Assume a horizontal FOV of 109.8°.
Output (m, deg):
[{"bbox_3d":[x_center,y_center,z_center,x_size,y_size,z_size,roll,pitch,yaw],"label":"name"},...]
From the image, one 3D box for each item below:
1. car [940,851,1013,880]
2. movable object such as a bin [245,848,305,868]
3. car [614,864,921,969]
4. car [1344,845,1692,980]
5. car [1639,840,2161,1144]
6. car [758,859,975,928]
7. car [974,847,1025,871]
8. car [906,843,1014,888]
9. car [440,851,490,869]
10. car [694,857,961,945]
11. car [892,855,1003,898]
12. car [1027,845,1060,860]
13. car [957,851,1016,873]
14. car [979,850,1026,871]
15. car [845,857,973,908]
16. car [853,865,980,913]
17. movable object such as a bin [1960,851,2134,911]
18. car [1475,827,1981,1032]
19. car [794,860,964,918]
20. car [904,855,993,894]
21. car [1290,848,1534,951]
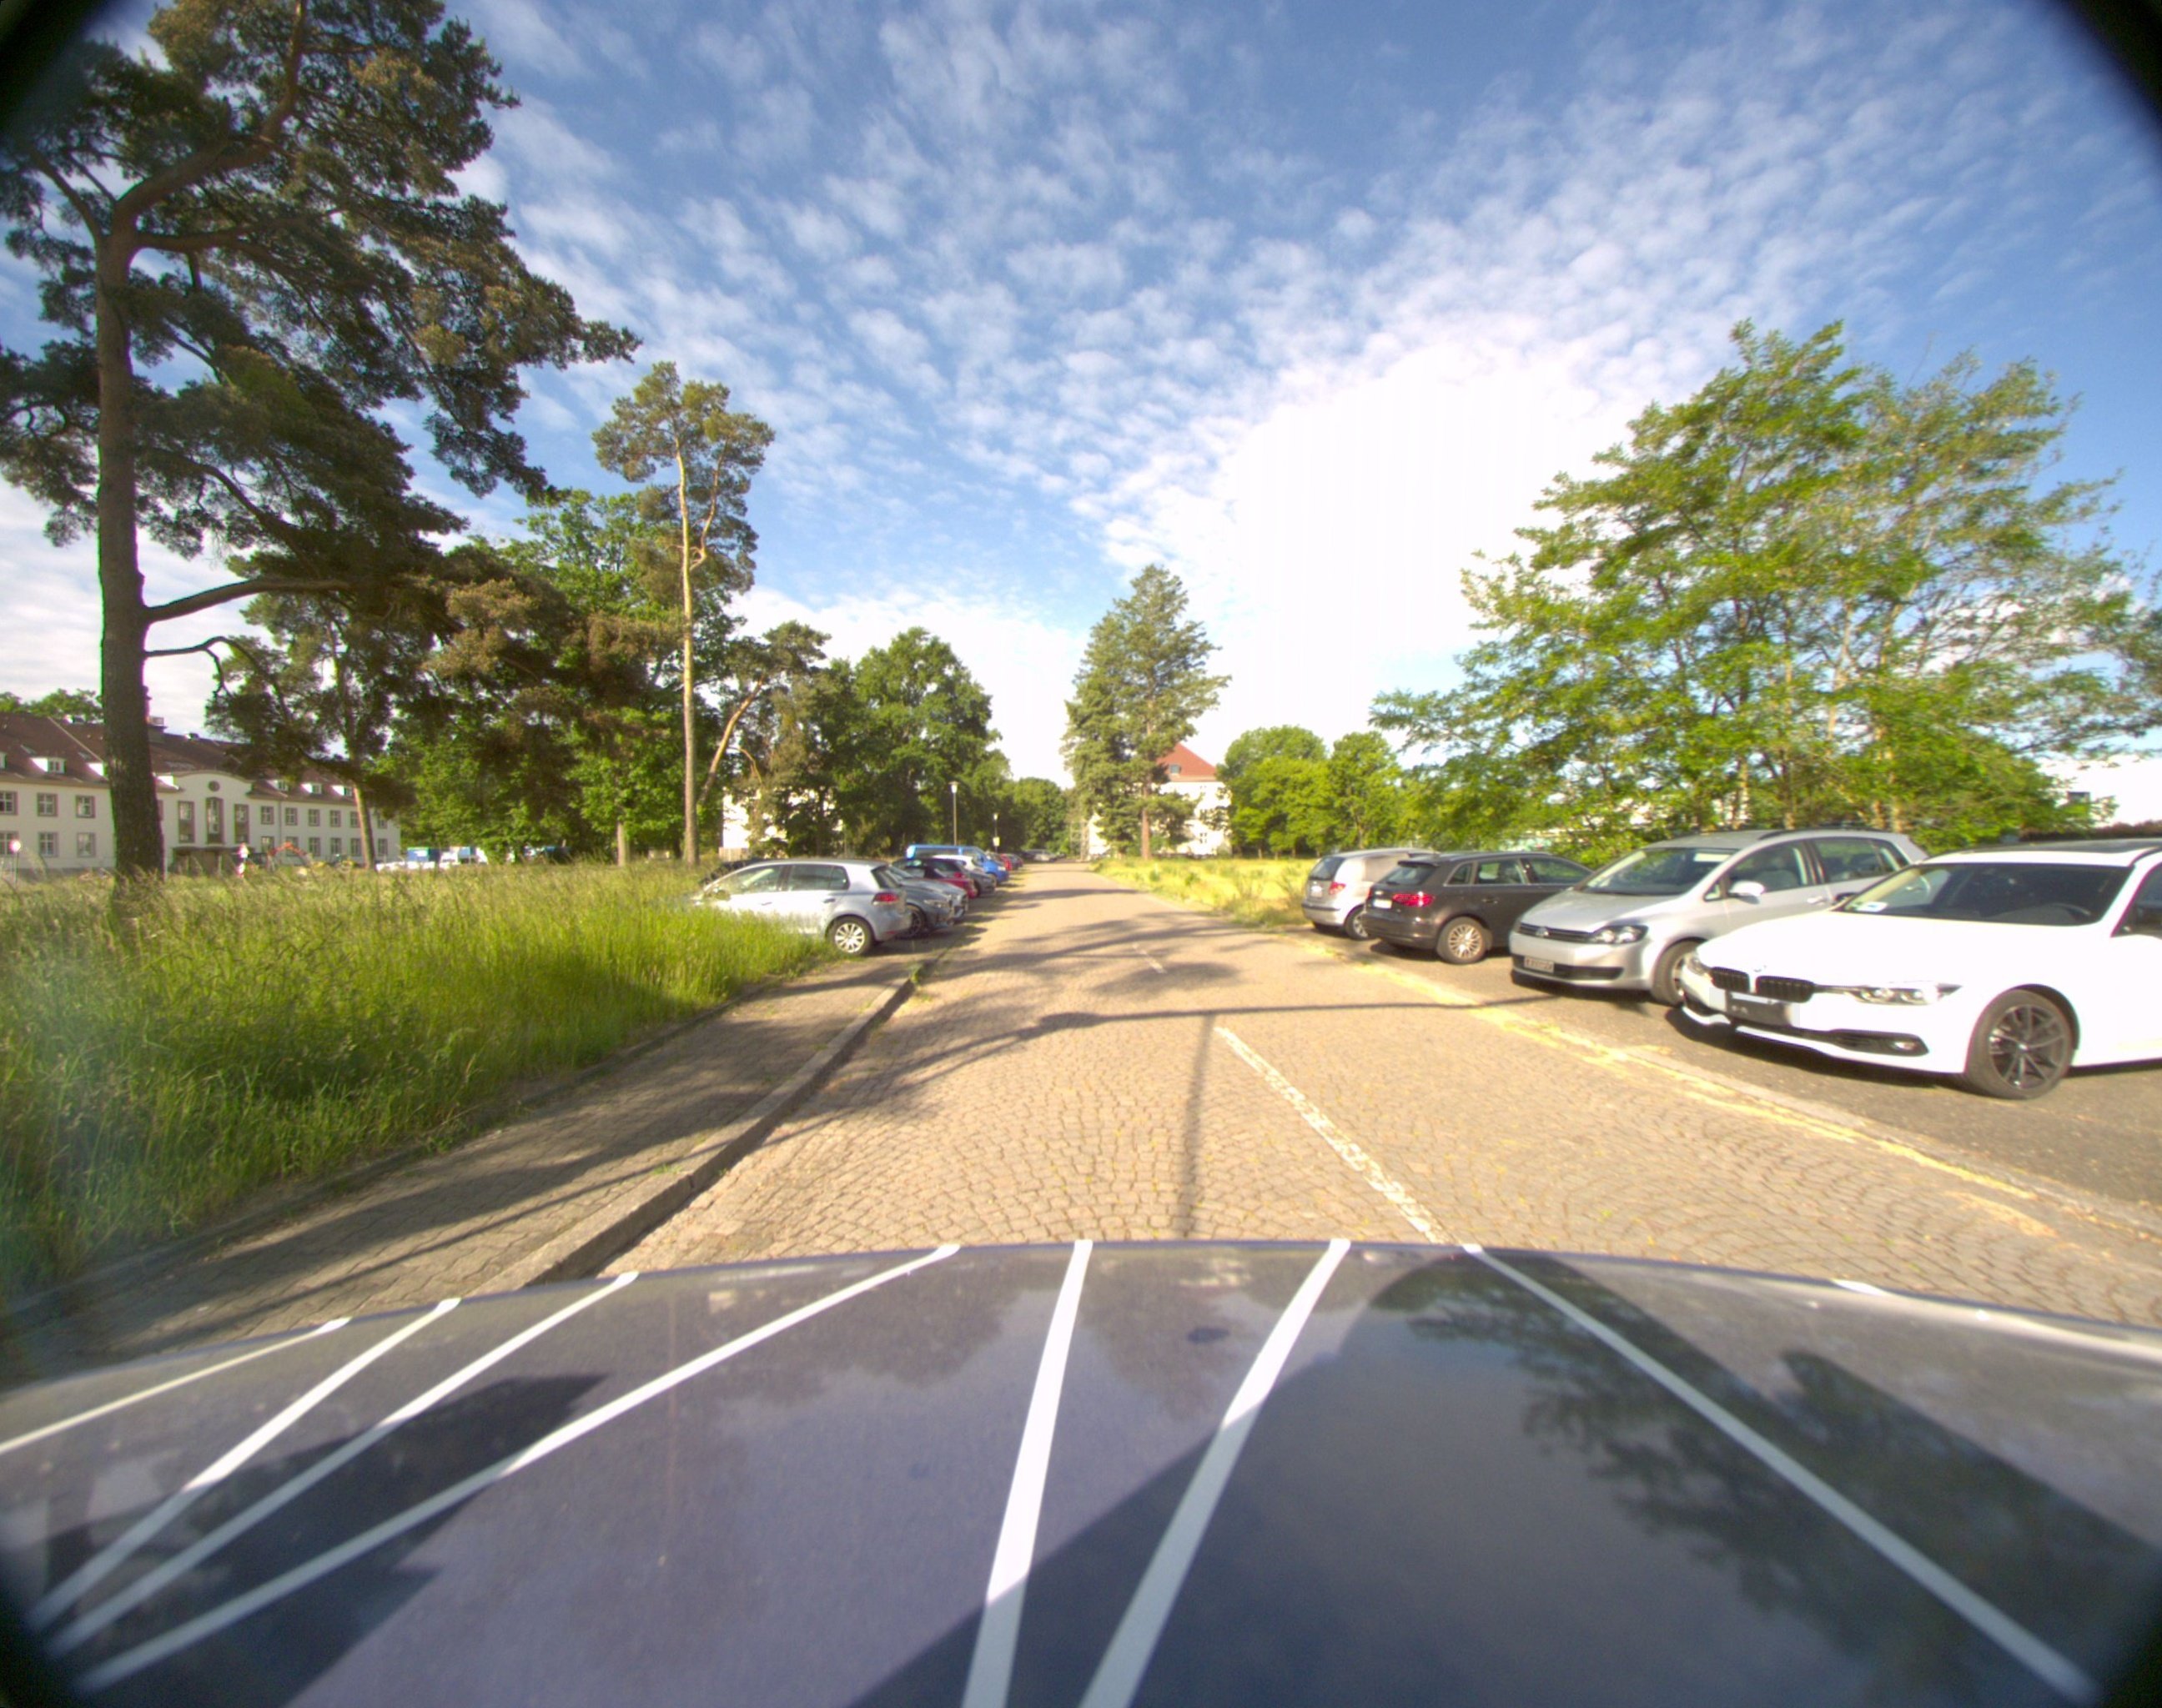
[{"bbox_3d":[-6.095,0.661,44.488,3.997,1.630,1.756,-1,1,0],"label":"car"},{"bbox_3d":[-94.102,0.419,88.798,2.000,2.309,4.983,-1,1,-6],"label":"movable object such as a bin"},{"bbox_3d":[-4.678,0.911,11.864,4.027,1.452,1.870,0,1,-3],"label":"car"},{"bbox_3d":[5.857,0.719,10.466,3.807,1.462,1.687,-4,1,-3],"label":"car"},{"bbox_3d":[6.734,0.745,5.278,4.554,1.459,1.751,-3,1,-5],"label":"car"},{"bbox_3d":[-4.719,0.859,17.215,4.424,1.394,1.825,1,1,-3],"label":"car"},{"bbox_3d":[-6.939,0.447,65.011,3.997,1.731,1.756,-3,2,0],"label":"car"},{"bbox_3d":[-5.599,0.500,35.565,4.727,2.002,1.999,-1,1,-1],"label":"car"},{"bbox_3d":[-71.996,0.701,88.876,1.999,2.002,4.771,-1,1,-1],"label":"car"},{"bbox_3d":[-4.615,0.843,14.432,4.508,1.508,1.825,0,1,-6],"label":"car"},{"bbox_3d":[-4.779,0.798,27.359,3.621,1.482,1.508,-1,1,7],"label":"car"},{"bbox_3d":[-5.905,-0.275,118.539,5.069,2.251,1.999,-1,1,-2],"label":"car"},{"bbox_3d":[-6.776,0.574,54.738,3.997,1.509,1.756,-1,1,0],"label":"car"},{"bbox_3d":[-7.147,0.569,69.739,3.996,1.606,1.756,-3,2,2],"label":"car"},{"bbox_3d":[-5.435,0.883,24.325,3.780,1.482,1.548,-1,1,-3],"label":"car"},{"bbox_3d":[-4.638,0.980,21.735,3.357,1.248,1.419,-1,1,-3],"label":"car"},{"bbox_3d":[18.885,0.510,14.886,2.285,1.101,0.997,-1,1,-4],"label":"movable object such as a bin"},{"bbox_3d":[6.473,0.657,7.834,3.956,1.617,1.720,-3,1,-7],"label":"car"},{"bbox_3d":[-5.066,0.869,19.434,3.919,1.385,1.660,1,1,-3],"label":"car"},{"bbox_3d":[-5.225,0.802,30.194,3.265,1.482,1.449,-1,1,0],"label":"car"},{"bbox_3d":[5.642,0.727,13.201,3.475,1.462,1.635,-4,1,-5],"label":"car"}]
